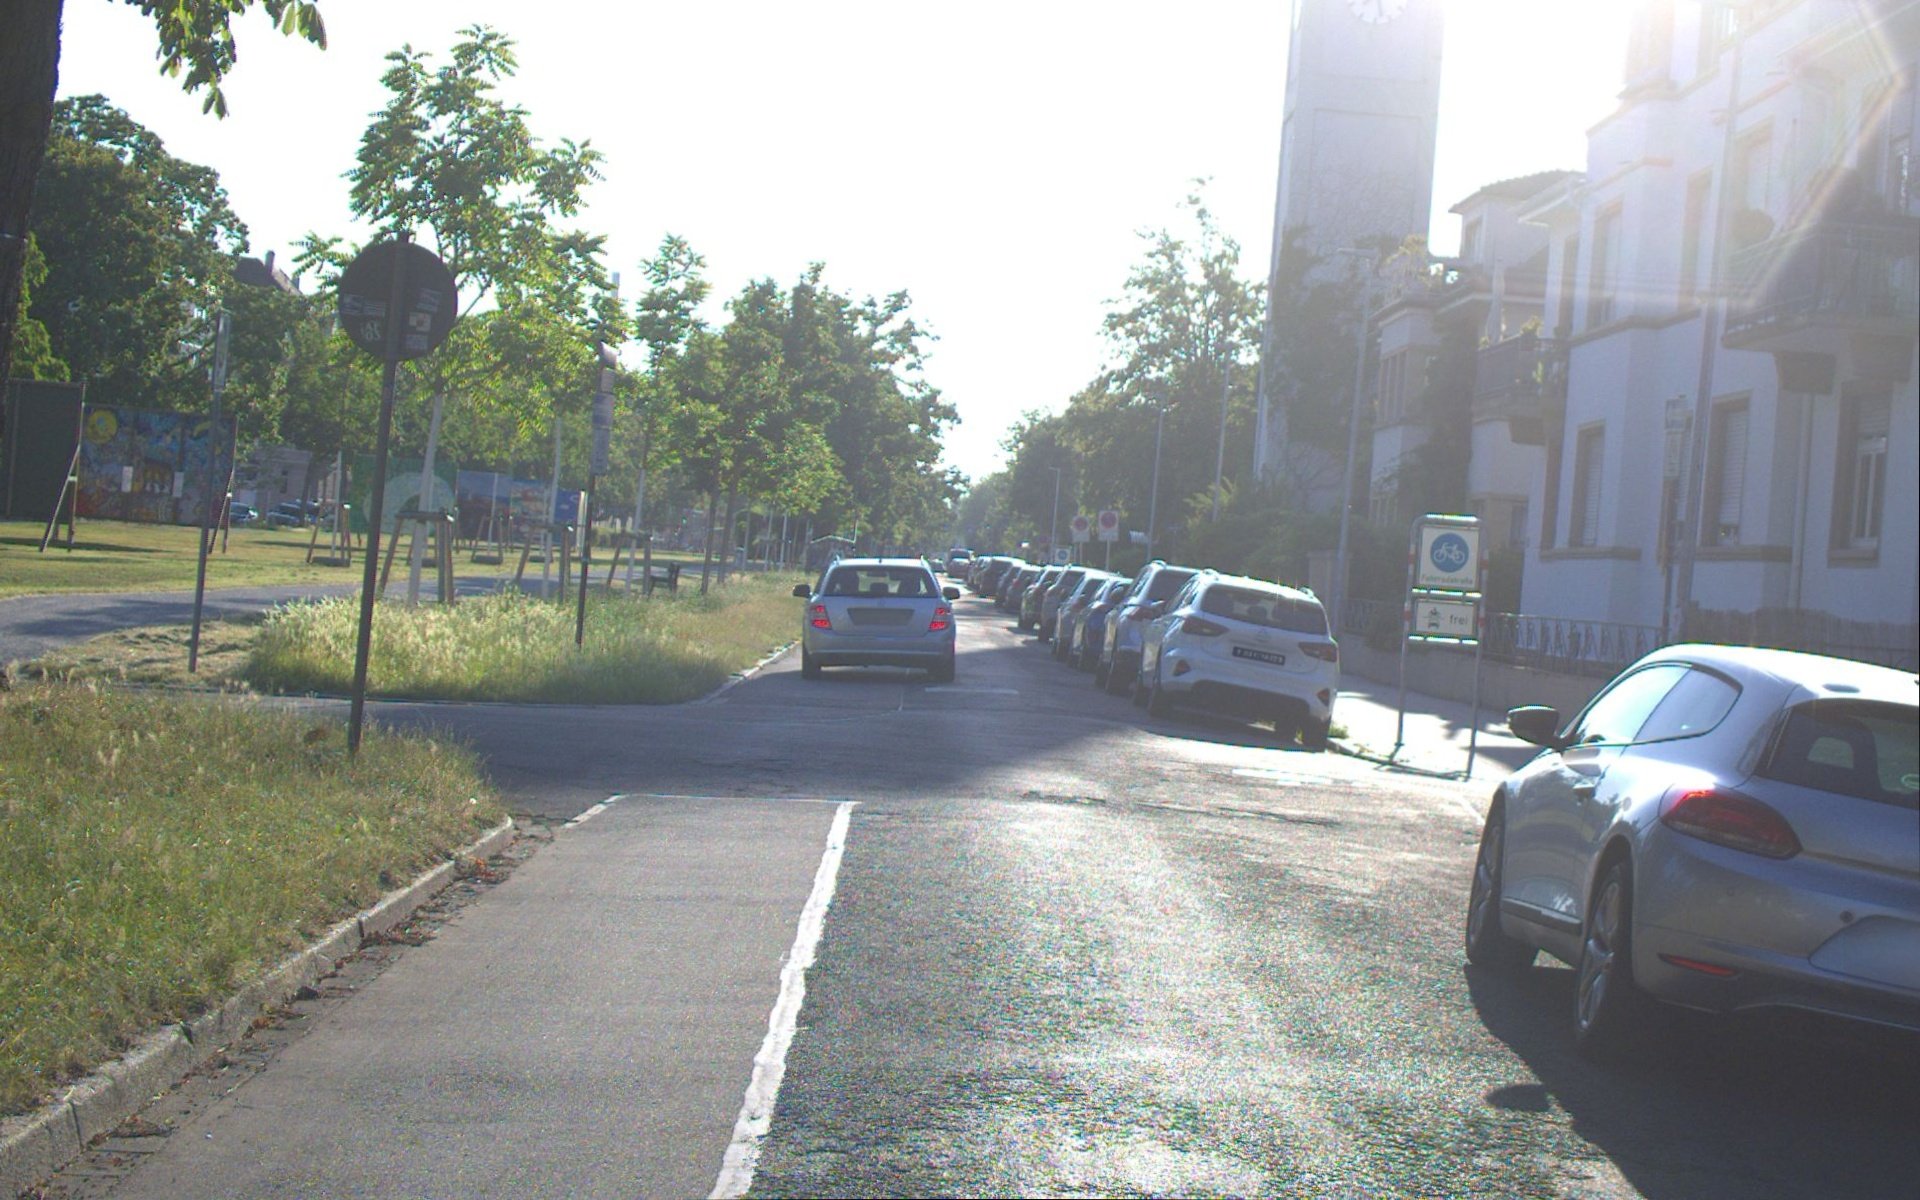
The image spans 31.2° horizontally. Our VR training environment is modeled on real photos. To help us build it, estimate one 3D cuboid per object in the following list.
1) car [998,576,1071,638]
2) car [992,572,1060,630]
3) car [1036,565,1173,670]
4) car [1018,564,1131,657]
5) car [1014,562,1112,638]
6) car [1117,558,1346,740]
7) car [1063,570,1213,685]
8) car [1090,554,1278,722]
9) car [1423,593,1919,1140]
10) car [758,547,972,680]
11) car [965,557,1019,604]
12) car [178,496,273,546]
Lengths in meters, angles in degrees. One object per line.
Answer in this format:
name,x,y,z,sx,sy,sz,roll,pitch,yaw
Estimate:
car,2.203,0.197,102.361,1.994,1.624,4.000,5,0,1
car,2.074,0.018,108.832,1.994,1.624,4.000,5,0,1
car,2.299,0.255,55.637,1.761,1.415,4.000,8,0,-2
car,2.162,0.177,65.821,1.761,1.516,4.000,7,0,-2
car,2.265,-0.012,76.491,1.994,1.459,4.000,5,0,1
car,2.723,0.447,35.378,1.758,1.599,4.359,5,1,-2
car,2.551,0.367,50.175,1.761,1.415,4.000,5,1,-2
car,2.627,0.420,41.109,1.685,1.645,4.100,10,0,-1
car,2.888,0.853,12.032,1.757,1.415,4.072,11,0,0
car,-1.172,0.122,40.441,1.760,1.415,4.001,2,0,-12
car,1.295,-0.787,137.144,1.980,1.677,4.000,5,0,1
car,-35.911,-3.858,168.355,3.160,2.140,6.109,3,0,1
